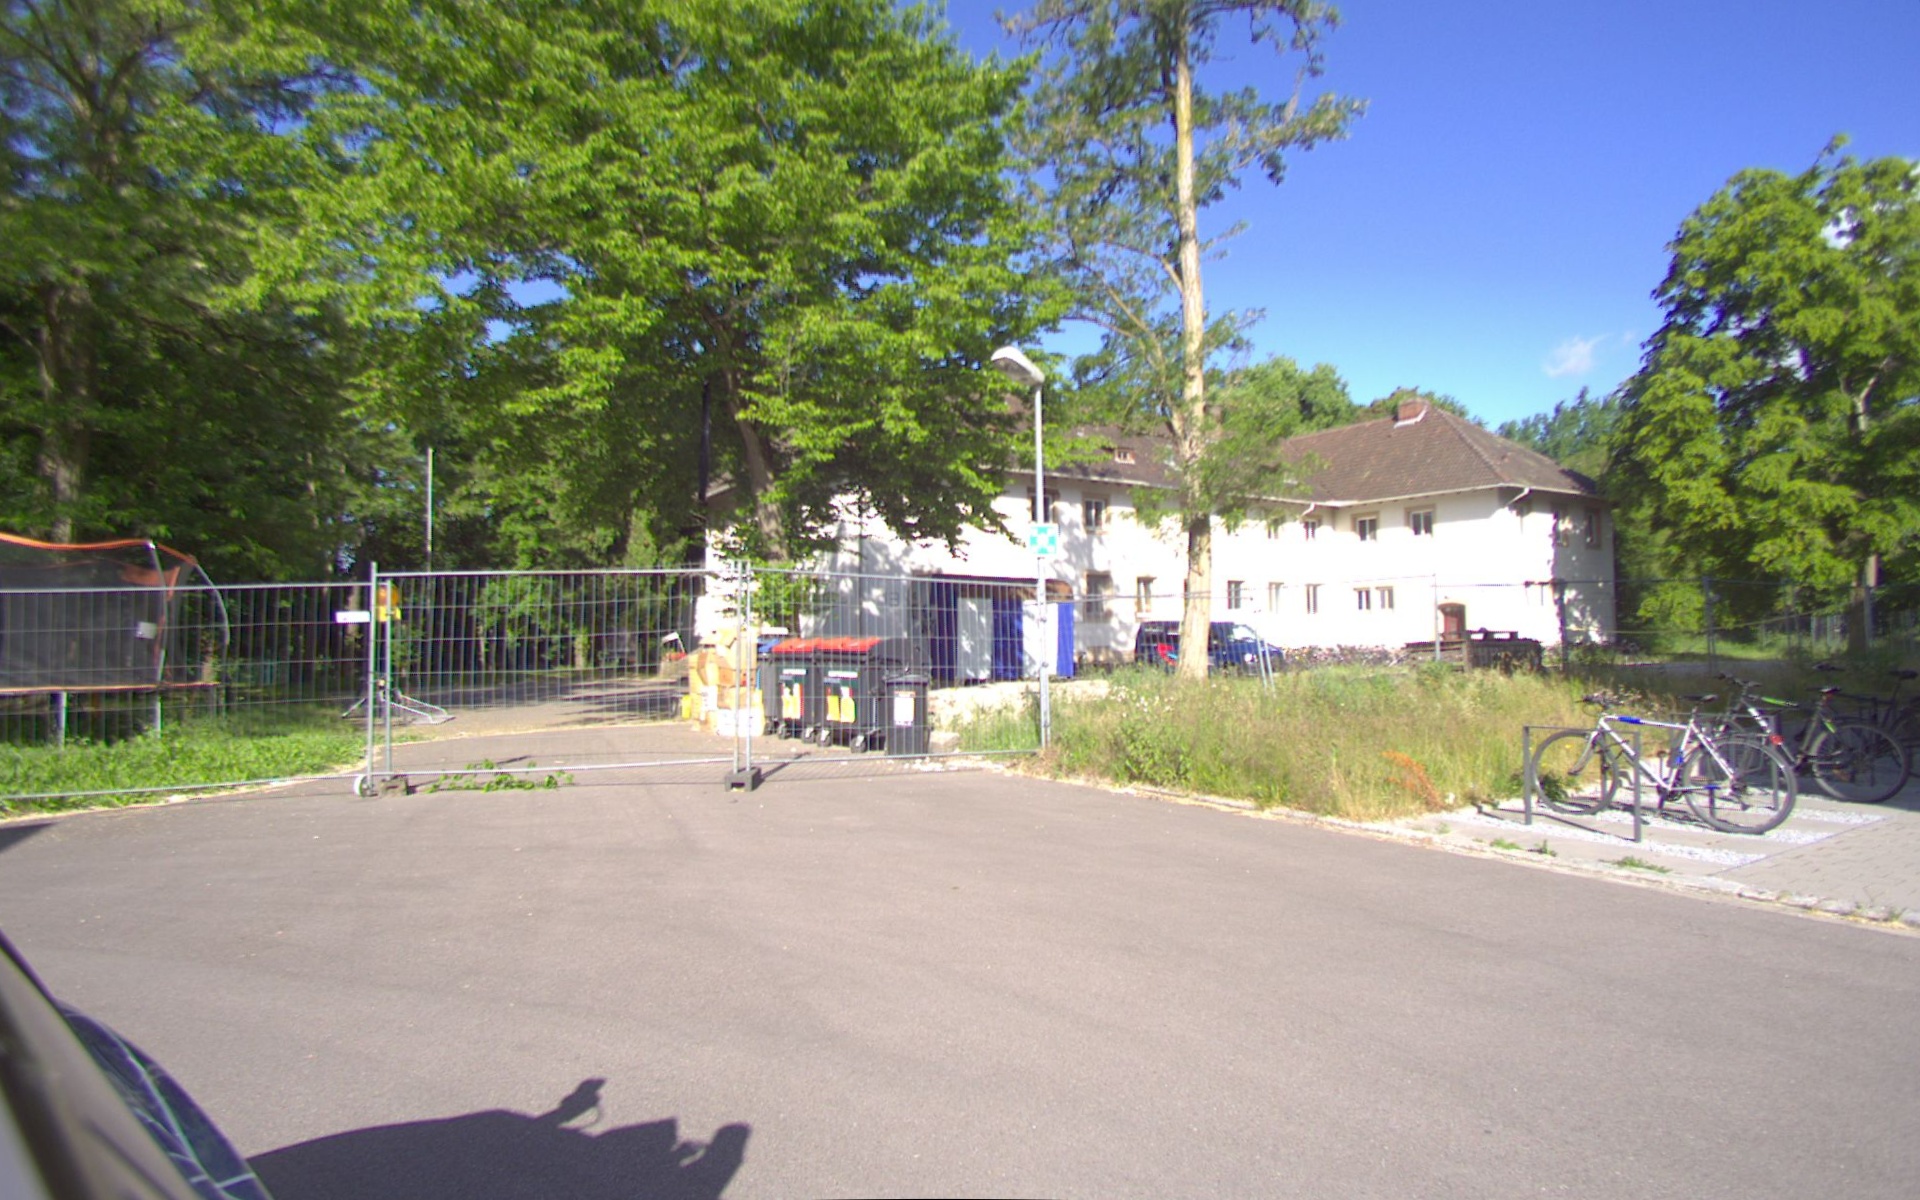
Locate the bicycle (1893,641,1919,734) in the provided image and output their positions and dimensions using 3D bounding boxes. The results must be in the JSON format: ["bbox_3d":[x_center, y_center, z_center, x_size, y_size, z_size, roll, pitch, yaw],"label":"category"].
[{"bbox_3d":[14.378,1.179,13.451,1.121,1.276,2.647,1,-3,-29],"label":"bicycle"}]

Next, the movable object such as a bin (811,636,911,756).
[{"bbox_3d":[-1.285,1.199,12.978,0.691,1.455,1.251,2,-3,-39],"label":"movable object such as a bin"}]

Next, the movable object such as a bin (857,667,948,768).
[{"bbox_3d":[-0.684,1.362,11.925,0.805,1.106,0.741,1,-3,-30],"label":"movable object such as a bin"}]

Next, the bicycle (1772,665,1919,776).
[{"bbox_3d":[9.666,1.226,10.439,0.517,1.103,1.898,2,-4,-35],"label":"bicycle"}]

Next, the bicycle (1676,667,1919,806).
[{"bbox_3d":[7.570,1.164,9.060,0.516,1.091,1.803,1,-3,-32],"label":"bicycle"}]

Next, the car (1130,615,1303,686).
[{"bbox_3d":[7.475,1.497,29.926,1.967,1.917,4.735,3,-4,-38],"label":"car"}]

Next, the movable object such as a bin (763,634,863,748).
[{"bbox_3d":[-2.056,1.231,14.082,0.794,1.495,1.344,2,-3,-40],"label":"movable object such as a bin"}]

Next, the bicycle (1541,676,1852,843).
[{"bbox_3d":[5.480,1.135,7.653,0.452,1.070,1.809,1,-3,-38],"label":"bicycle"}]

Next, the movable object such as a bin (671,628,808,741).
[{"bbox_3d":[-3.444,1.261,15.659,1.156,1.603,2.299,2,-3,-39],"label":"movable object such as a bin"}]
